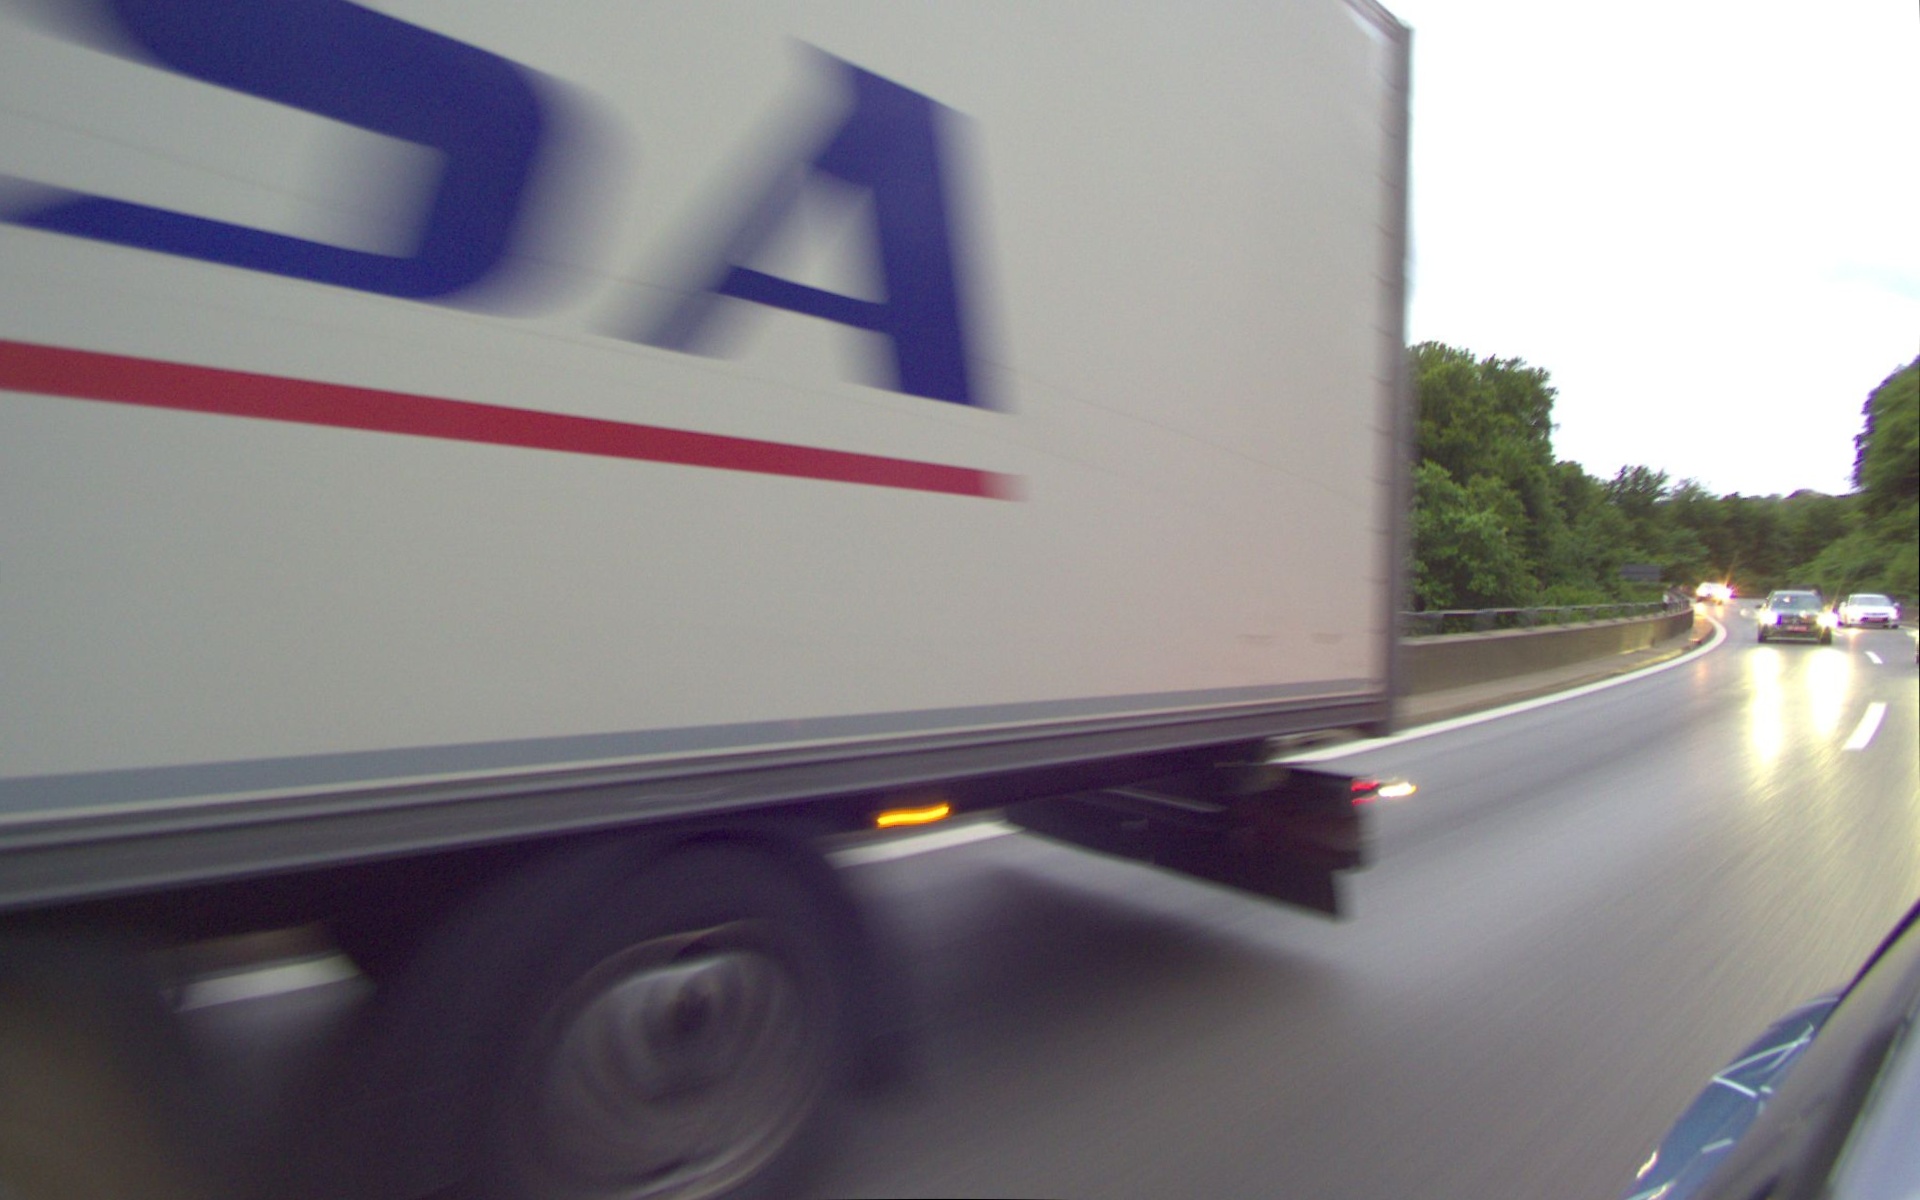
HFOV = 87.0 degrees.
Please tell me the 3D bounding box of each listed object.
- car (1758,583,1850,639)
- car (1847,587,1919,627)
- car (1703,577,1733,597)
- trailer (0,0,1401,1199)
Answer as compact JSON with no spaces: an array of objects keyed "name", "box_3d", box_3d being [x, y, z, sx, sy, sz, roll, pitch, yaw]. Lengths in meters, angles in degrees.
[{"name":"car","box_3d":[27.165,0.320,32.698,1.988,1.660,3.948,1,1,36]},{"name":"car","box_3d":[40.645,0.256,44.599,1.991,1.526,3.945,5,4,38]},{"name":"car","box_3d":[70.647,-1.229,94.290,1.991,1.637,3.945,7,5,38]},{"name":"trailer","box_3d":[-4.478,-0.586,0.541,13.973,4.019,3.102,0,1,-42]}]
